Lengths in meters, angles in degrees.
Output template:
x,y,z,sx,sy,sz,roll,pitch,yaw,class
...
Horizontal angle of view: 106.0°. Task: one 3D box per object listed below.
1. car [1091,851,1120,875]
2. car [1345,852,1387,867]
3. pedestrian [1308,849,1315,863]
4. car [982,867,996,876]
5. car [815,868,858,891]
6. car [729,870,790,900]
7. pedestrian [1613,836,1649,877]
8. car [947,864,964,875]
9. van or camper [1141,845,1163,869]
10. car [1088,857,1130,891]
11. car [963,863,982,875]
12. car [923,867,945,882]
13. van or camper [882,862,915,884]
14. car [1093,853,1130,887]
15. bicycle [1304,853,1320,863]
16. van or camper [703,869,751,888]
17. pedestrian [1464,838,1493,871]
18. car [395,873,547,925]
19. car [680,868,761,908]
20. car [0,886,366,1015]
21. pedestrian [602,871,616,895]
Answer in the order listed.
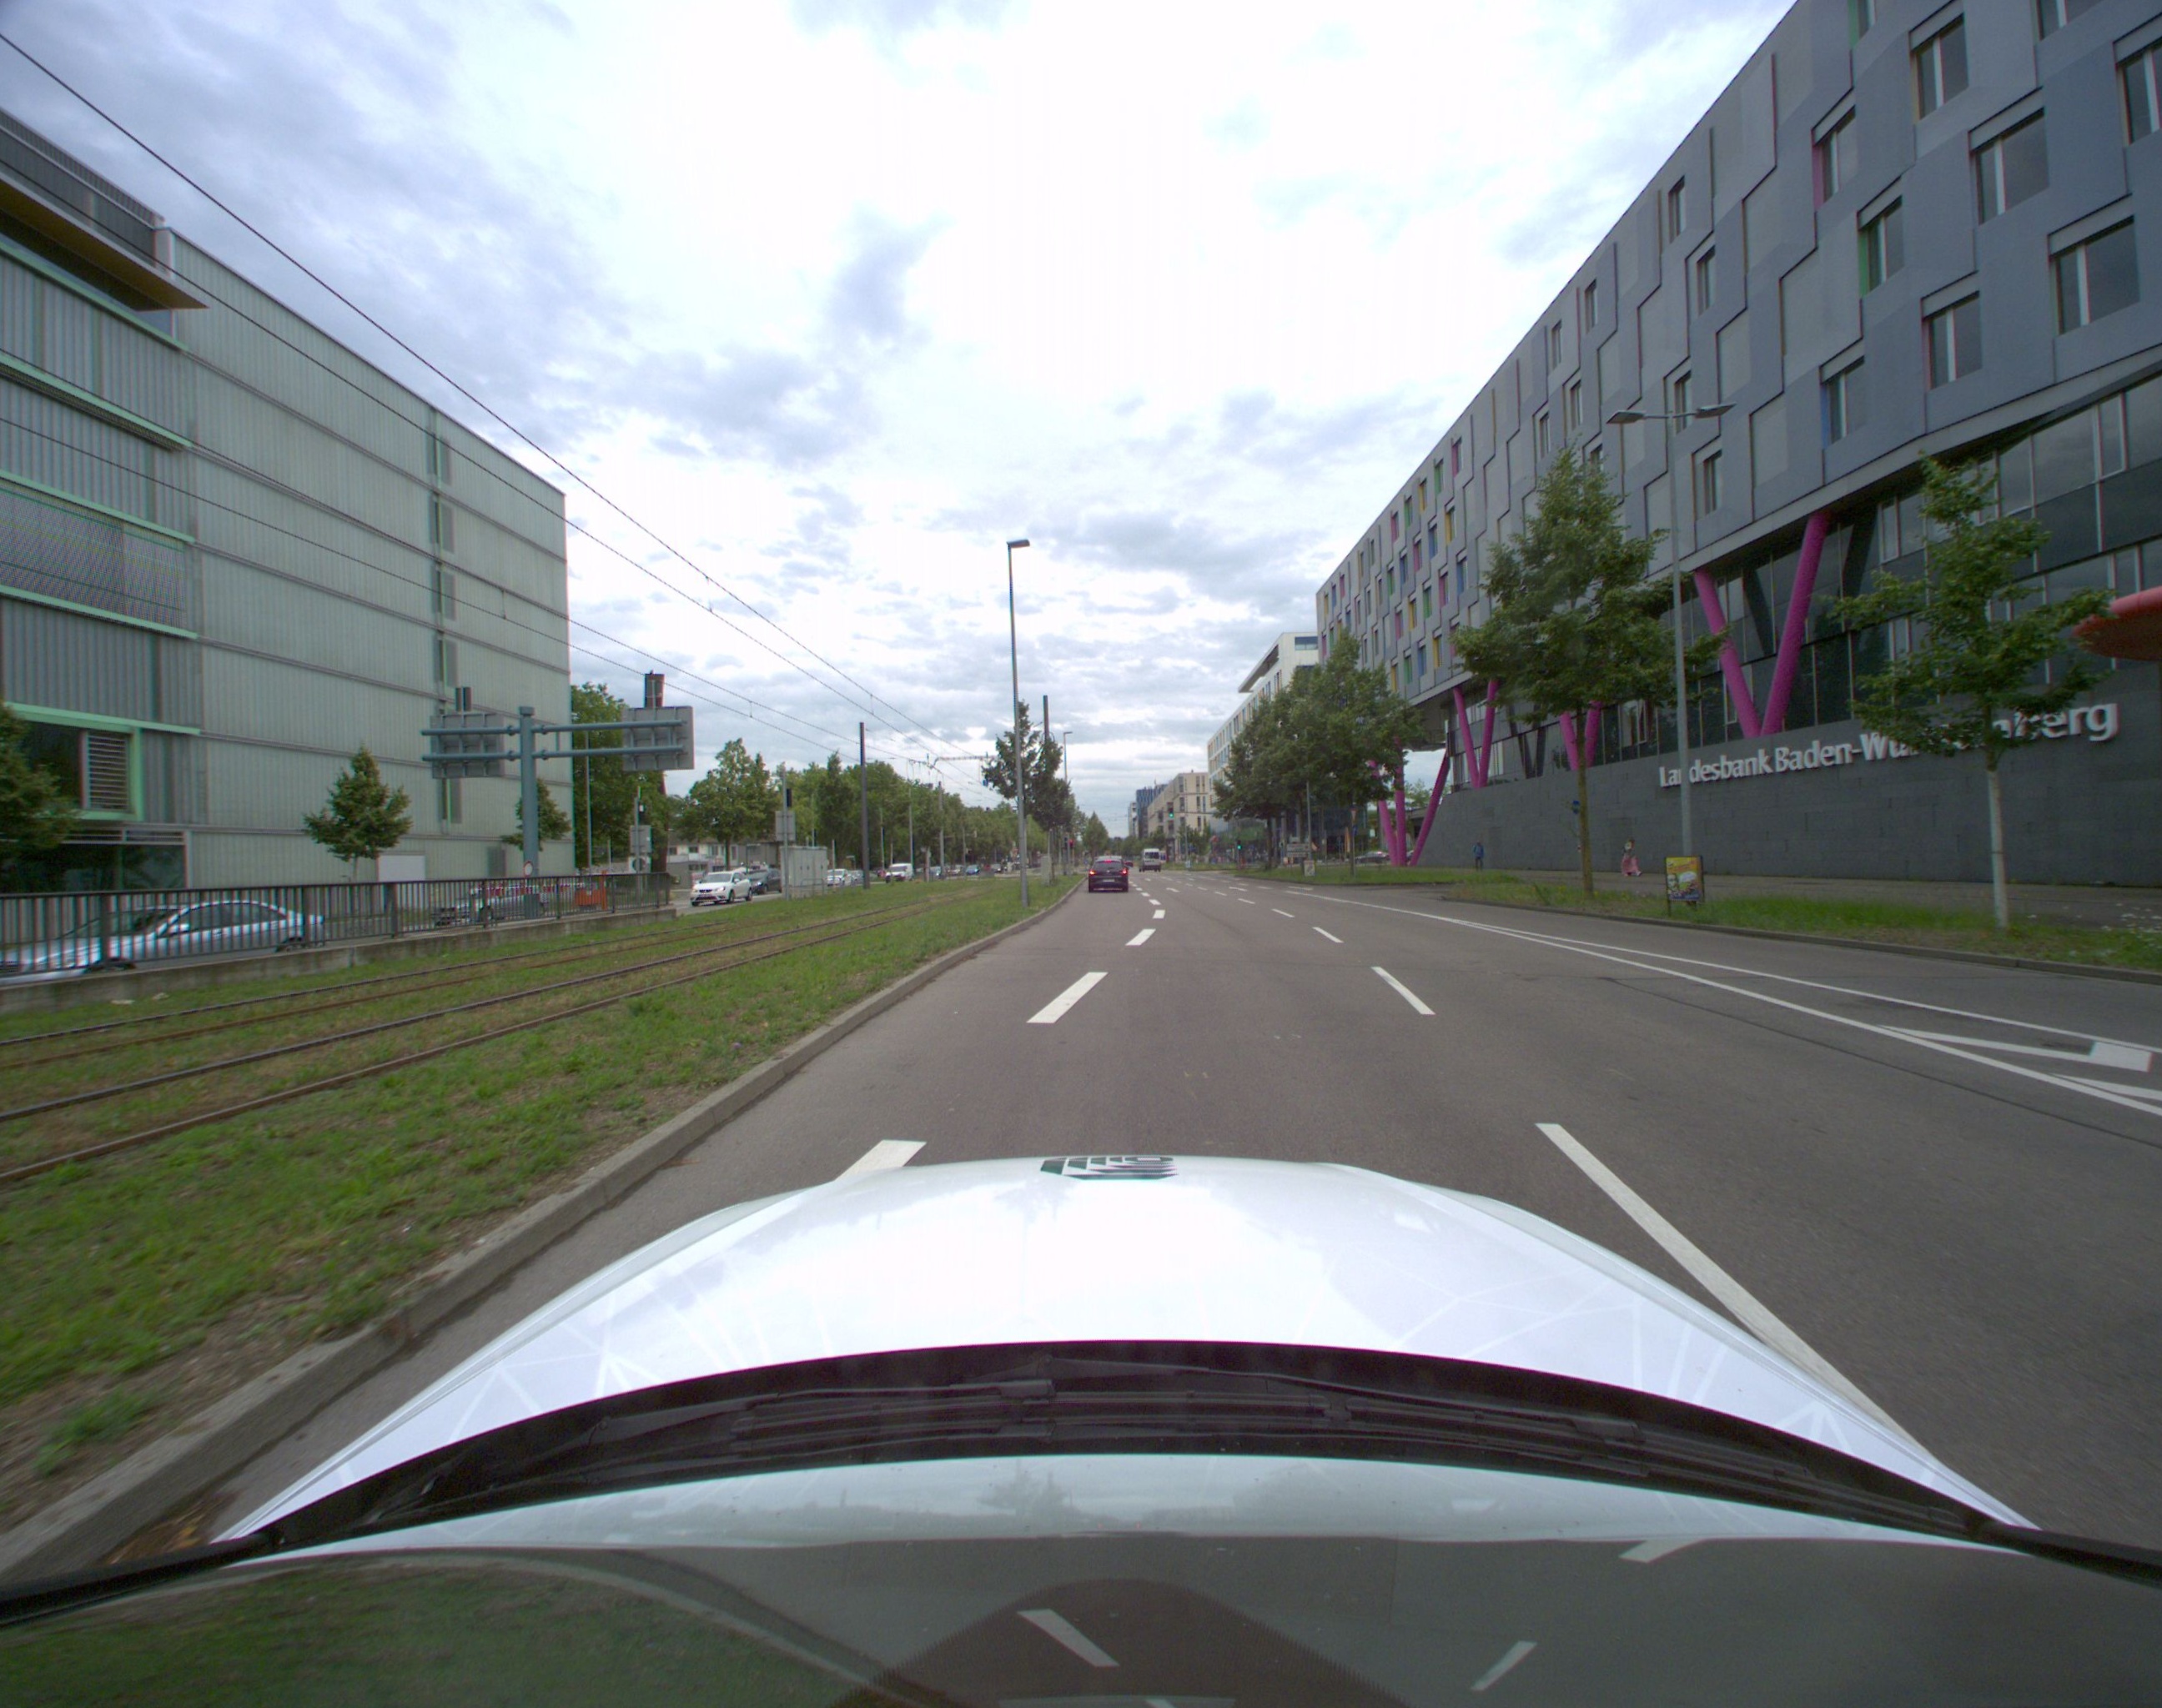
x,y,z,sx,sy,sz,roll,pitch,yaw,class
1.884,0.649,61.050,1.985,1.682,4.004,-1,0,4,car
33.025,0.628,94.500,4.233,1.615,1.759,-2,-1,3,car
27.277,0.196,96.460,0.612,1.604,0.619,-2,-1,4,pedestrian
-17.644,3.300,156.463,1.789,1.570,4.331,-2,0,3,car
-17.688,1.848,59.091,1.758,1.479,4.569,-3,0,-2,car
-21.840,2.095,55.582,1.986,1.823,4.970,-2,0,2,car
22.202,0.092,32.896,0.781,1.582,0.915,-2,0,2,pedestrian
-18.460,2.253,119.826,1.790,1.571,4.577,1,-1,0,car
7.673,0.287,88.692,2.101,2.356,4.926,-1,1,2,van or camper
1.221,0.841,36.194,1.737,1.417,4.001,-1,0,1,car
-15.538,2.189,117.028,1.957,1.588,4.688,-1,0,0,car
-16.756,2.289,93.128,1.724,1.445,4.917,-4,0,-3,car
-17.383,1.816,77.857,1.883,1.900,5.124,-3,0,0,van or camper
1.592,0.789,42.487,1.796,1.624,4.001,-2,0,2,car
27.348,0.456,96.458,1.784,1.085,0.618,-2,-1,3,bicycle
-40.447,2.804,93.032,5.212,2.014,2.481,-2,-1,34,van or camper
21.938,0.039,44.969,1.047,1.770,1.137,-2,0,2,pedestrian
-22.482,1.599,30.280,1.986,1.666,4.649,-2,0,2,car
-16.045,1.468,36.489,1.991,1.586,4.369,-2,0,-6,car
-15.279,1.460,13.829,1.776,1.514,4.972,-2,1,1,car
-41.365,2.540,71.372,0.910,2.014,0.942,-1,-1,-40,pedestrian
